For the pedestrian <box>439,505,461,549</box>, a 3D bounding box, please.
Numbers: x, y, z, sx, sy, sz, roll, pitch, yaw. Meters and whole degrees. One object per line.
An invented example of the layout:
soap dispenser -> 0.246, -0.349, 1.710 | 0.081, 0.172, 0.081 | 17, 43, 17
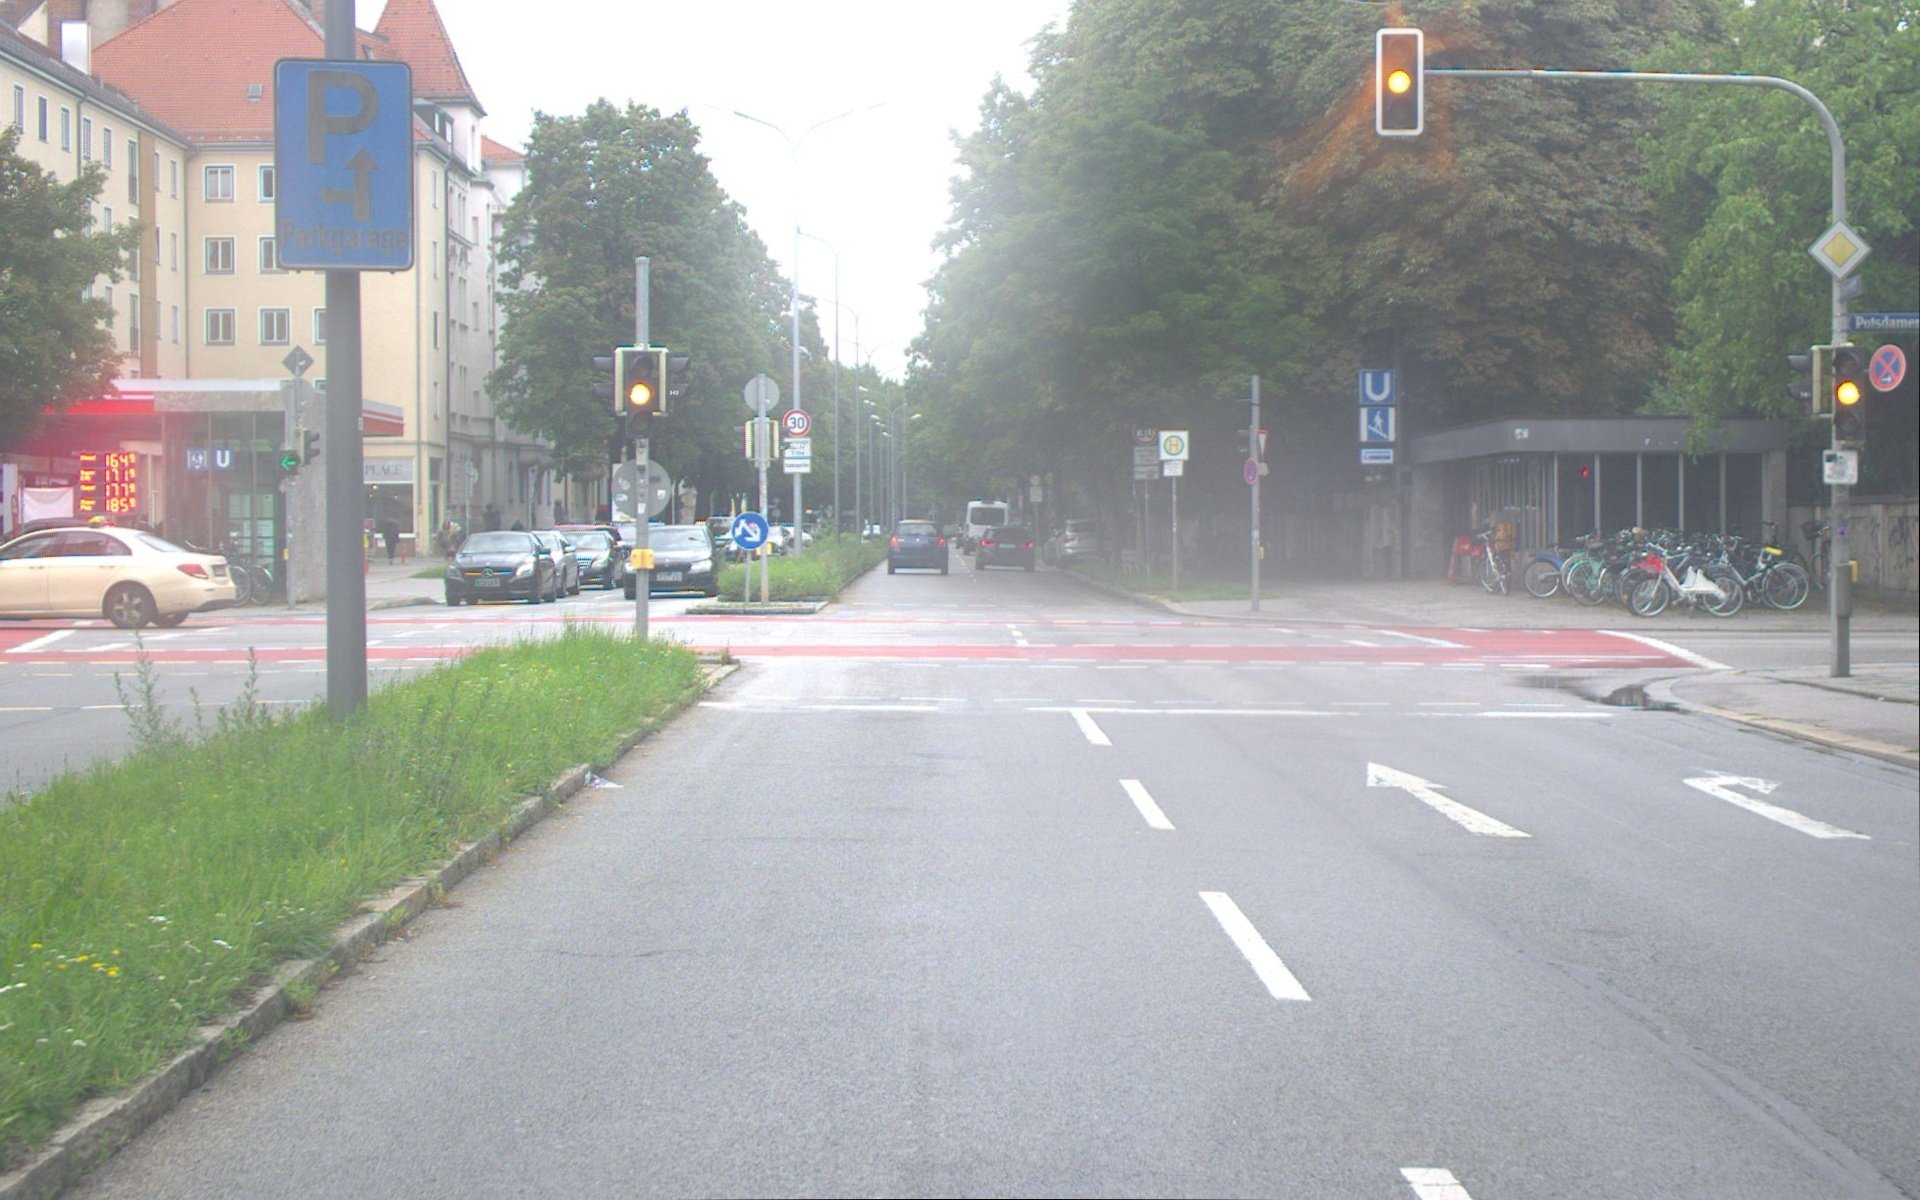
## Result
pedestrian -> -18.774, -2.690, 126.593 | 0.696, 1.632, 0.738 | 0, 1, 0

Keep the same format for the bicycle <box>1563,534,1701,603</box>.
bicycle -> 10.777, -0.509, 55.206 | 2.144, 1.082, 0.603 | 0, 1, 8

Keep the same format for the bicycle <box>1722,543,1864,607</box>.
bicycle -> 13.305, -0.409, 54.967 | 2.144, 1.011, 0.634 | 0, 1, 8

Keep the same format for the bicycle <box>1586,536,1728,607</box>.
bicycle -> 10.889, -0.455, 53.772 | 2.144, 1.097, 0.603 | 0, 1, 8

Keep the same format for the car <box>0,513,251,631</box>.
car -> -12.686, -0.421, 48.953 | 4.766, 1.641, 1.785 | 0, 1, 4

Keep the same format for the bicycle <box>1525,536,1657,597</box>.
bicycle -> 10.557, -0.562, 57.537 | 2.144, 1.011, 0.603 | 0, 1, 8

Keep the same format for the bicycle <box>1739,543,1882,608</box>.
bicycle -> 13.392, -0.391, 54.172 | 2.144, 1.011, 0.634 | 0, 1, 8

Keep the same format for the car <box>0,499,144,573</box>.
car -> -22.801, -1.620, 86.850 | 3.986, 1.831, 1.881 | 0, 1, -3

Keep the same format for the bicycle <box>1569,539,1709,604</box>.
bicycle -> 10.754, -0.457, 54.487 | 2.144, 1.011, 0.603 | 0, 1, 8

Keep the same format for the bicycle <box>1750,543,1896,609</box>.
bicycle -> 13.392, -0.379, 53.405 | 2.144, 1.011, 0.634 | 0, 1, 8

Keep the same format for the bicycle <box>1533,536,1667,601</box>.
bicycle -> 10.535, -0.529, 56.656 | 2.144, 1.058, 0.603 | 0, 1, 8

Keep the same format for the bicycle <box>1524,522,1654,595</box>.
bicycle -> 10.651, -0.703, 58.239 | 2.144, 1.214, 0.603 | 0, 1, 8

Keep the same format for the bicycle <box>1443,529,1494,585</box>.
bicycle -> 9.383, -0.802, 63.505 | 0.556, 1.011, 2.016 | 0, 1, -2

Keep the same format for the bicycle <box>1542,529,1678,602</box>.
bicycle -> 10.571, -0.560, 55.953 | 2.144, 1.174, 0.603 | 0, 1, 8

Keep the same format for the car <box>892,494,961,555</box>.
car -> -0.936, -2.117, 95.848 | 1.857, 1.678, 4.000 | 0, 2, -1

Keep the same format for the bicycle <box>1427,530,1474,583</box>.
bicycle -> 9.533, -0.850, 66.844 | 0.556, 1.011, 2.016 | 0, 1, -2

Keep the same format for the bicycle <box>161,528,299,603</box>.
bicycle -> -12.840, -0.615, 60.507 | 2.285, 1.300, 0.694 | 0, 1, 1

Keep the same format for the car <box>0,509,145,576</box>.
car -> -26.880, -1.763, 104.245 | 3.986, 2.007, 1.892 | 0, 1, -4

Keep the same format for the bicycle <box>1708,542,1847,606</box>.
bicycle -> 13.244, -0.426, 55.752 | 2.144, 1.011, 0.634 | 0, 1, 8

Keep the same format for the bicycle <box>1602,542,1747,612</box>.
bicycle -> 11.032, -0.361, 53.119 | 2.144, 1.067, 0.603 | 0, 1, 8

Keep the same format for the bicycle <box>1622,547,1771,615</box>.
bicycle -> 11.065, -0.293, 51.690 | 2.144, 1.011, 0.603 | 0, 1, 8

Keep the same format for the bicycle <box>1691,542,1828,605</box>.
bicycle -> 13.135, -0.441, 56.544 | 2.144, 1.011, 0.634 | 0, 1, 8

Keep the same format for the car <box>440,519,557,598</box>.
car -> -8.861, -0.816, 66.271 | 1.759, 1.455, 4.000 | 0, 2, -1

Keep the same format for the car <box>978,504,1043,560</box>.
car -> 1.572, -2.138, 108.559 | 1.923, 1.678, 4.000 | 2, 1, 0

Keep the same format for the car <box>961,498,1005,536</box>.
car -> 1.062, -3.886, 160.901 | 1.993, 1.750, 4.000 | 0, 2, -1

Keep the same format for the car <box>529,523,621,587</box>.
car -> -9.076, -1.089, 81.278 | 1.759, 1.455, 4.000 | 0, 2, -1

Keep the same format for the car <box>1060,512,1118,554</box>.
car -> 4.278, -2.243, 114.346 | 1.743, 1.358, 3.807 | 0, 2, -1

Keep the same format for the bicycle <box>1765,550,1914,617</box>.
bicycle -> 13.450, -0.263, 52.610 | 2.144, 1.011, 0.634 | 0, 1, 8

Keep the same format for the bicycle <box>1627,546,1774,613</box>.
bicycle -> 11.260, -0.318, 52.313 | 2.144, 1.011, 0.634 | 0, 1, 8

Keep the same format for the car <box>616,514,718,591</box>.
car -> -5.897, -0.982, 69.611 | 1.759, 1.488, 4.000 | 0, 2, -1

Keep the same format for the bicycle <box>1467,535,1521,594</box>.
bicycle -> 9.438, -0.644, 60.778 | 0.556, 1.011, 2.016 | 0, 1, -2
